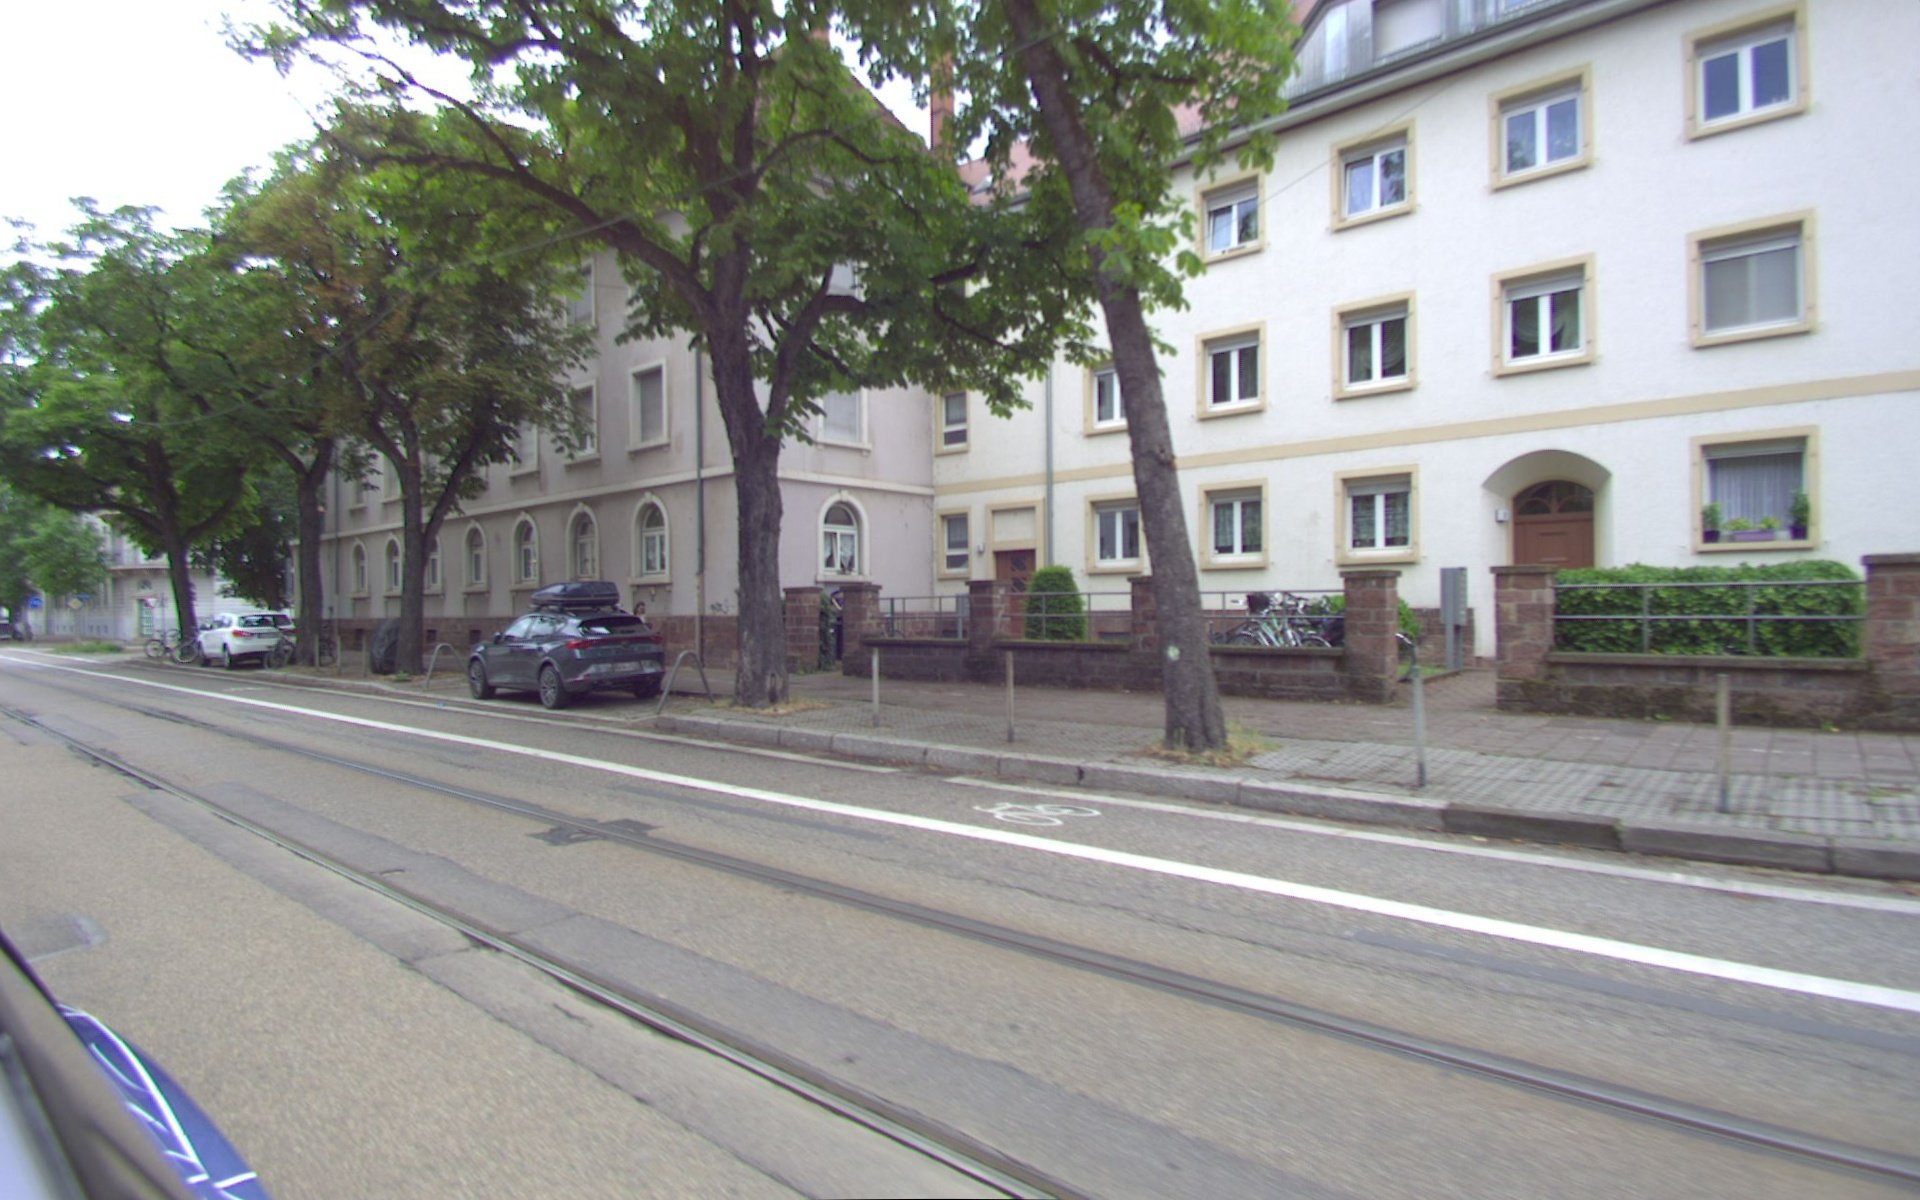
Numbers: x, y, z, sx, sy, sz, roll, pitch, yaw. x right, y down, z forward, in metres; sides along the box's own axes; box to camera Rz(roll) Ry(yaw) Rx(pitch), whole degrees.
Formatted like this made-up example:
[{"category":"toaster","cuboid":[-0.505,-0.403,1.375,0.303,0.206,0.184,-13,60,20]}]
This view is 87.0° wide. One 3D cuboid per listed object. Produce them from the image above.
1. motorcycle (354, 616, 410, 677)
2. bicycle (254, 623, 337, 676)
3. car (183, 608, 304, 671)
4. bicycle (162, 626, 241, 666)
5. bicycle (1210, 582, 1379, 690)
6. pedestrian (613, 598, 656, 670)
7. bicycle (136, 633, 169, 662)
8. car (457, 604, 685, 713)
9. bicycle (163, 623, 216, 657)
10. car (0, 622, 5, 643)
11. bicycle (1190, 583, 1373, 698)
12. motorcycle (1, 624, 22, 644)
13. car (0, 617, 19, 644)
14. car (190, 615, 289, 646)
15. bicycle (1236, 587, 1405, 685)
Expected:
[{"category":"motorcycle","cuboid":[-13.259,1.038,23.192,0.852,1.298,2.327,-2,0,-36]},{"category":"bicycle","cuboid":[-17.205,1.272,26.223,1.720,1.201,0.654,-3,-4,-35]},{"category":"car","cuboid":[-20.901,1.118,29.471,4.222,1.668,1.878,-1,0,40]},{"category":"bicycle","cuboid":[-24.152,1.436,32.241,0.623,1.129,1.903,-1,1,40]},{"category":"bicycle","cuboid":[4.589,0.485,14.004,2.140,1.392,0.621,-1,-1,41]},{"category":"pedestrian","cuboid":[-6.874,0.701,21.344,0.722,1.478,0.558,-2,-1,41]},{"category":"bicycle","cuboid":[-27.884,1.642,34.949,1.394,0.965,0.479,-1,-1,34]},{"category":"car","cuboid":[-6.503,0.891,16.701,4.236,1.522,1.758,-2,0,42]},{"category":"bicycle","cuboid":[-27.117,1.415,35.600,1.925,1.144,0.671,-3,-1,25]},{"category":"car","cuboid":[-70.873,2.416,73.446,4.611,1.477,1.793,-2,0,41]},{"category":"bicycle","cuboid":[4.187,0.509,13.310,2.140,1.392,0.784,-2,-1,42]},{"category":"motorcycle","cuboid":[-59.400,2.129,63.372,2.137,1.267,0.535,-1,-1,35]},{"category":"car","cuboid":[-64.638,2.080,67.880,4.292,1.673,1.818,-2,2,42]},{"category":"car","cuboid":[-42.256,1.763,59.452,4.438,1.675,1.945,-1,0,-24]},{"category":"bicycle","cuboid":[5.151,0.503,14.552,2.139,1.308,0.740,-1,-1,40]}]
